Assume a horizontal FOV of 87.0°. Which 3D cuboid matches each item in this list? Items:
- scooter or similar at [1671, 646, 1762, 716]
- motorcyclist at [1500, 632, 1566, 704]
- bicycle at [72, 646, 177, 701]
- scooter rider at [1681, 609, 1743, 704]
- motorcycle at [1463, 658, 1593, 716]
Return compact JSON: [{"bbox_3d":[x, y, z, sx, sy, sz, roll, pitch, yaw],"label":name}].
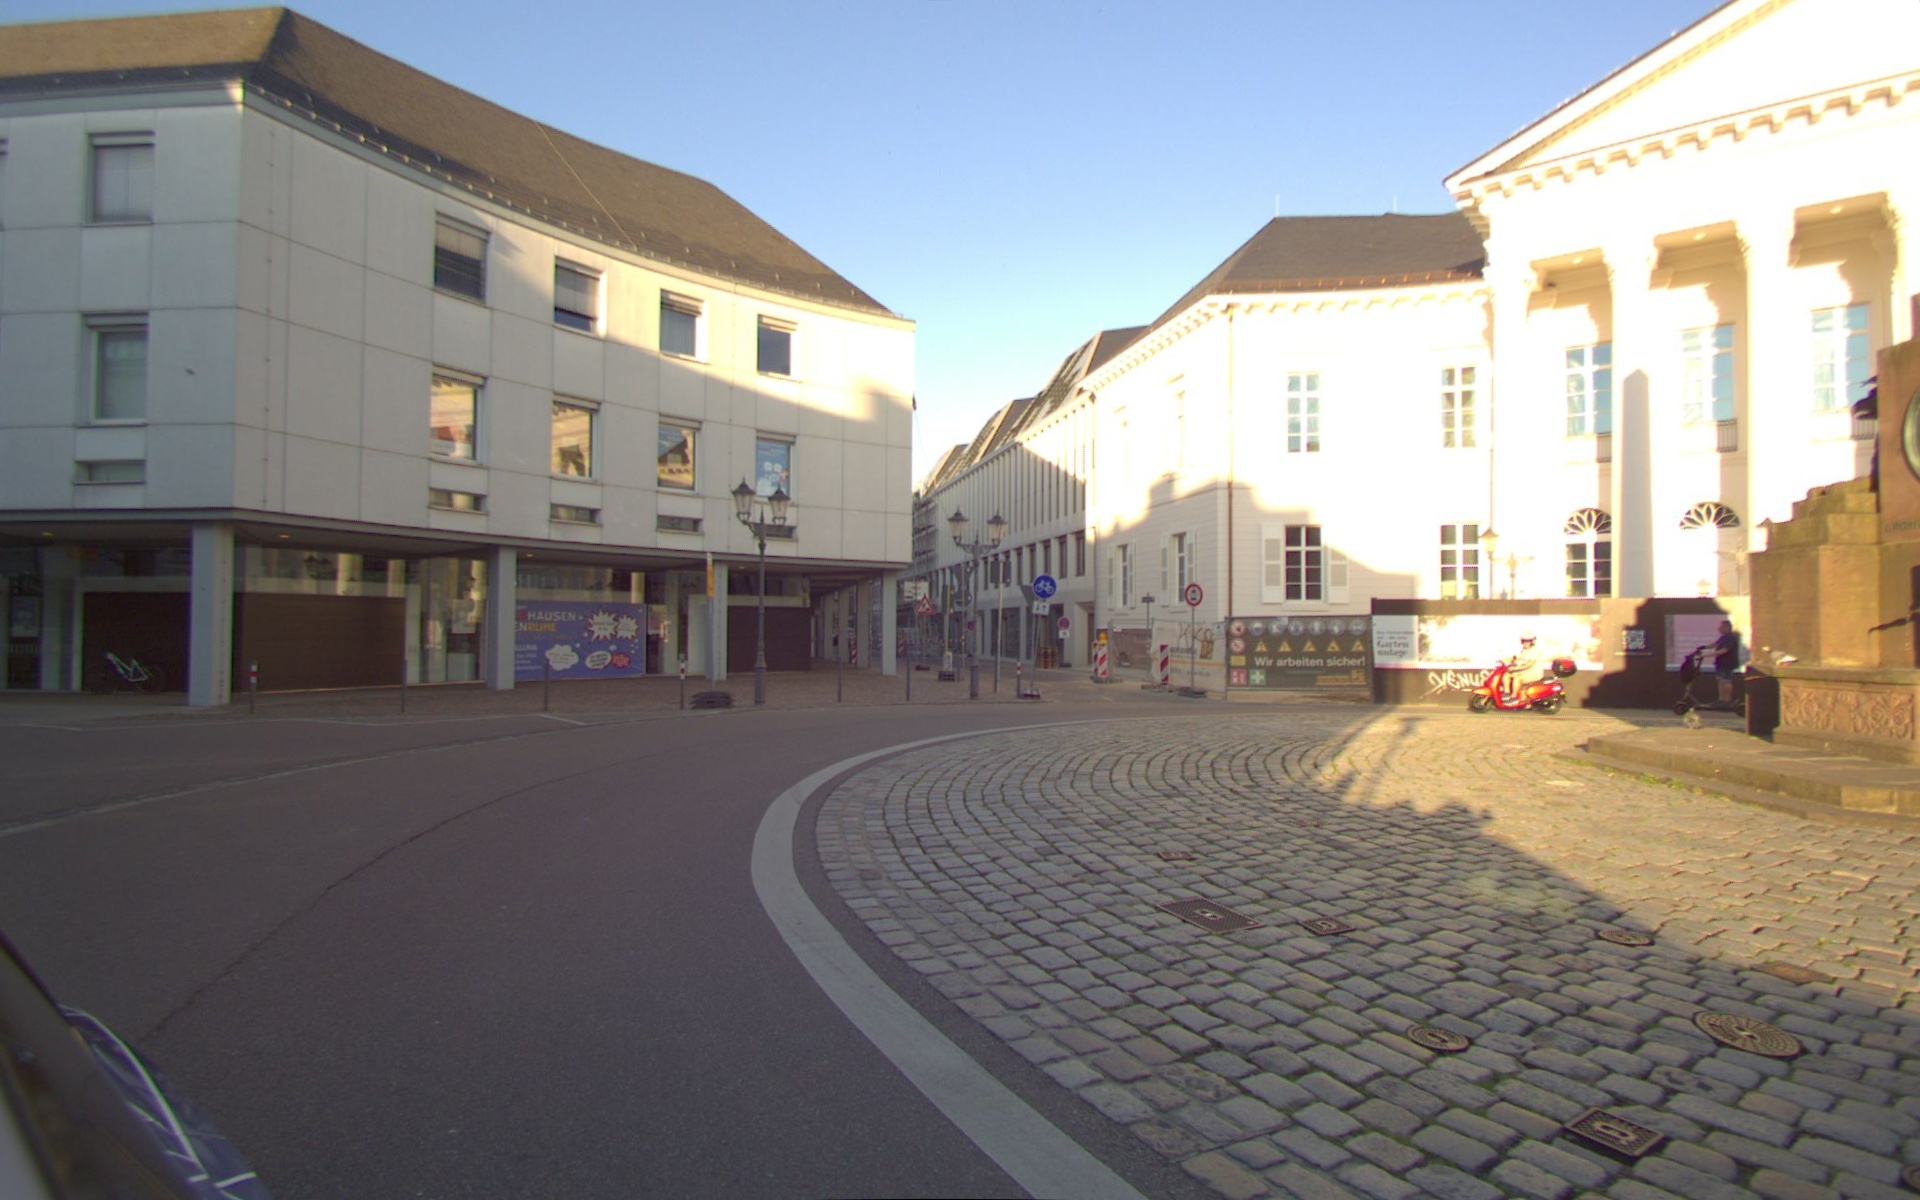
[{"bbox_3d":[14.568,1.537,19.497,1.358,1.281,0.679,-2,-3,40],"label":"scooter or similar"},{"bbox_3d":[11.077,1.303,19.576,0.851,1.354,0.802,0,-2,9],"label":"motorcyclist"},{"bbox_3d":[-17.983,1.576,21.797,1.924,1.164,0.480,0,-2,4],"label":"bicycle"},{"bbox_3d":[14.529,1.080,19.551,0.908,1.777,0.677,-2,-3,39],"label":"scooter rider"},{"bbox_3d":[10.951,1.663,19.588,2.010,1.053,0.802,0,-2,9],"label":"motorcycle"}]
